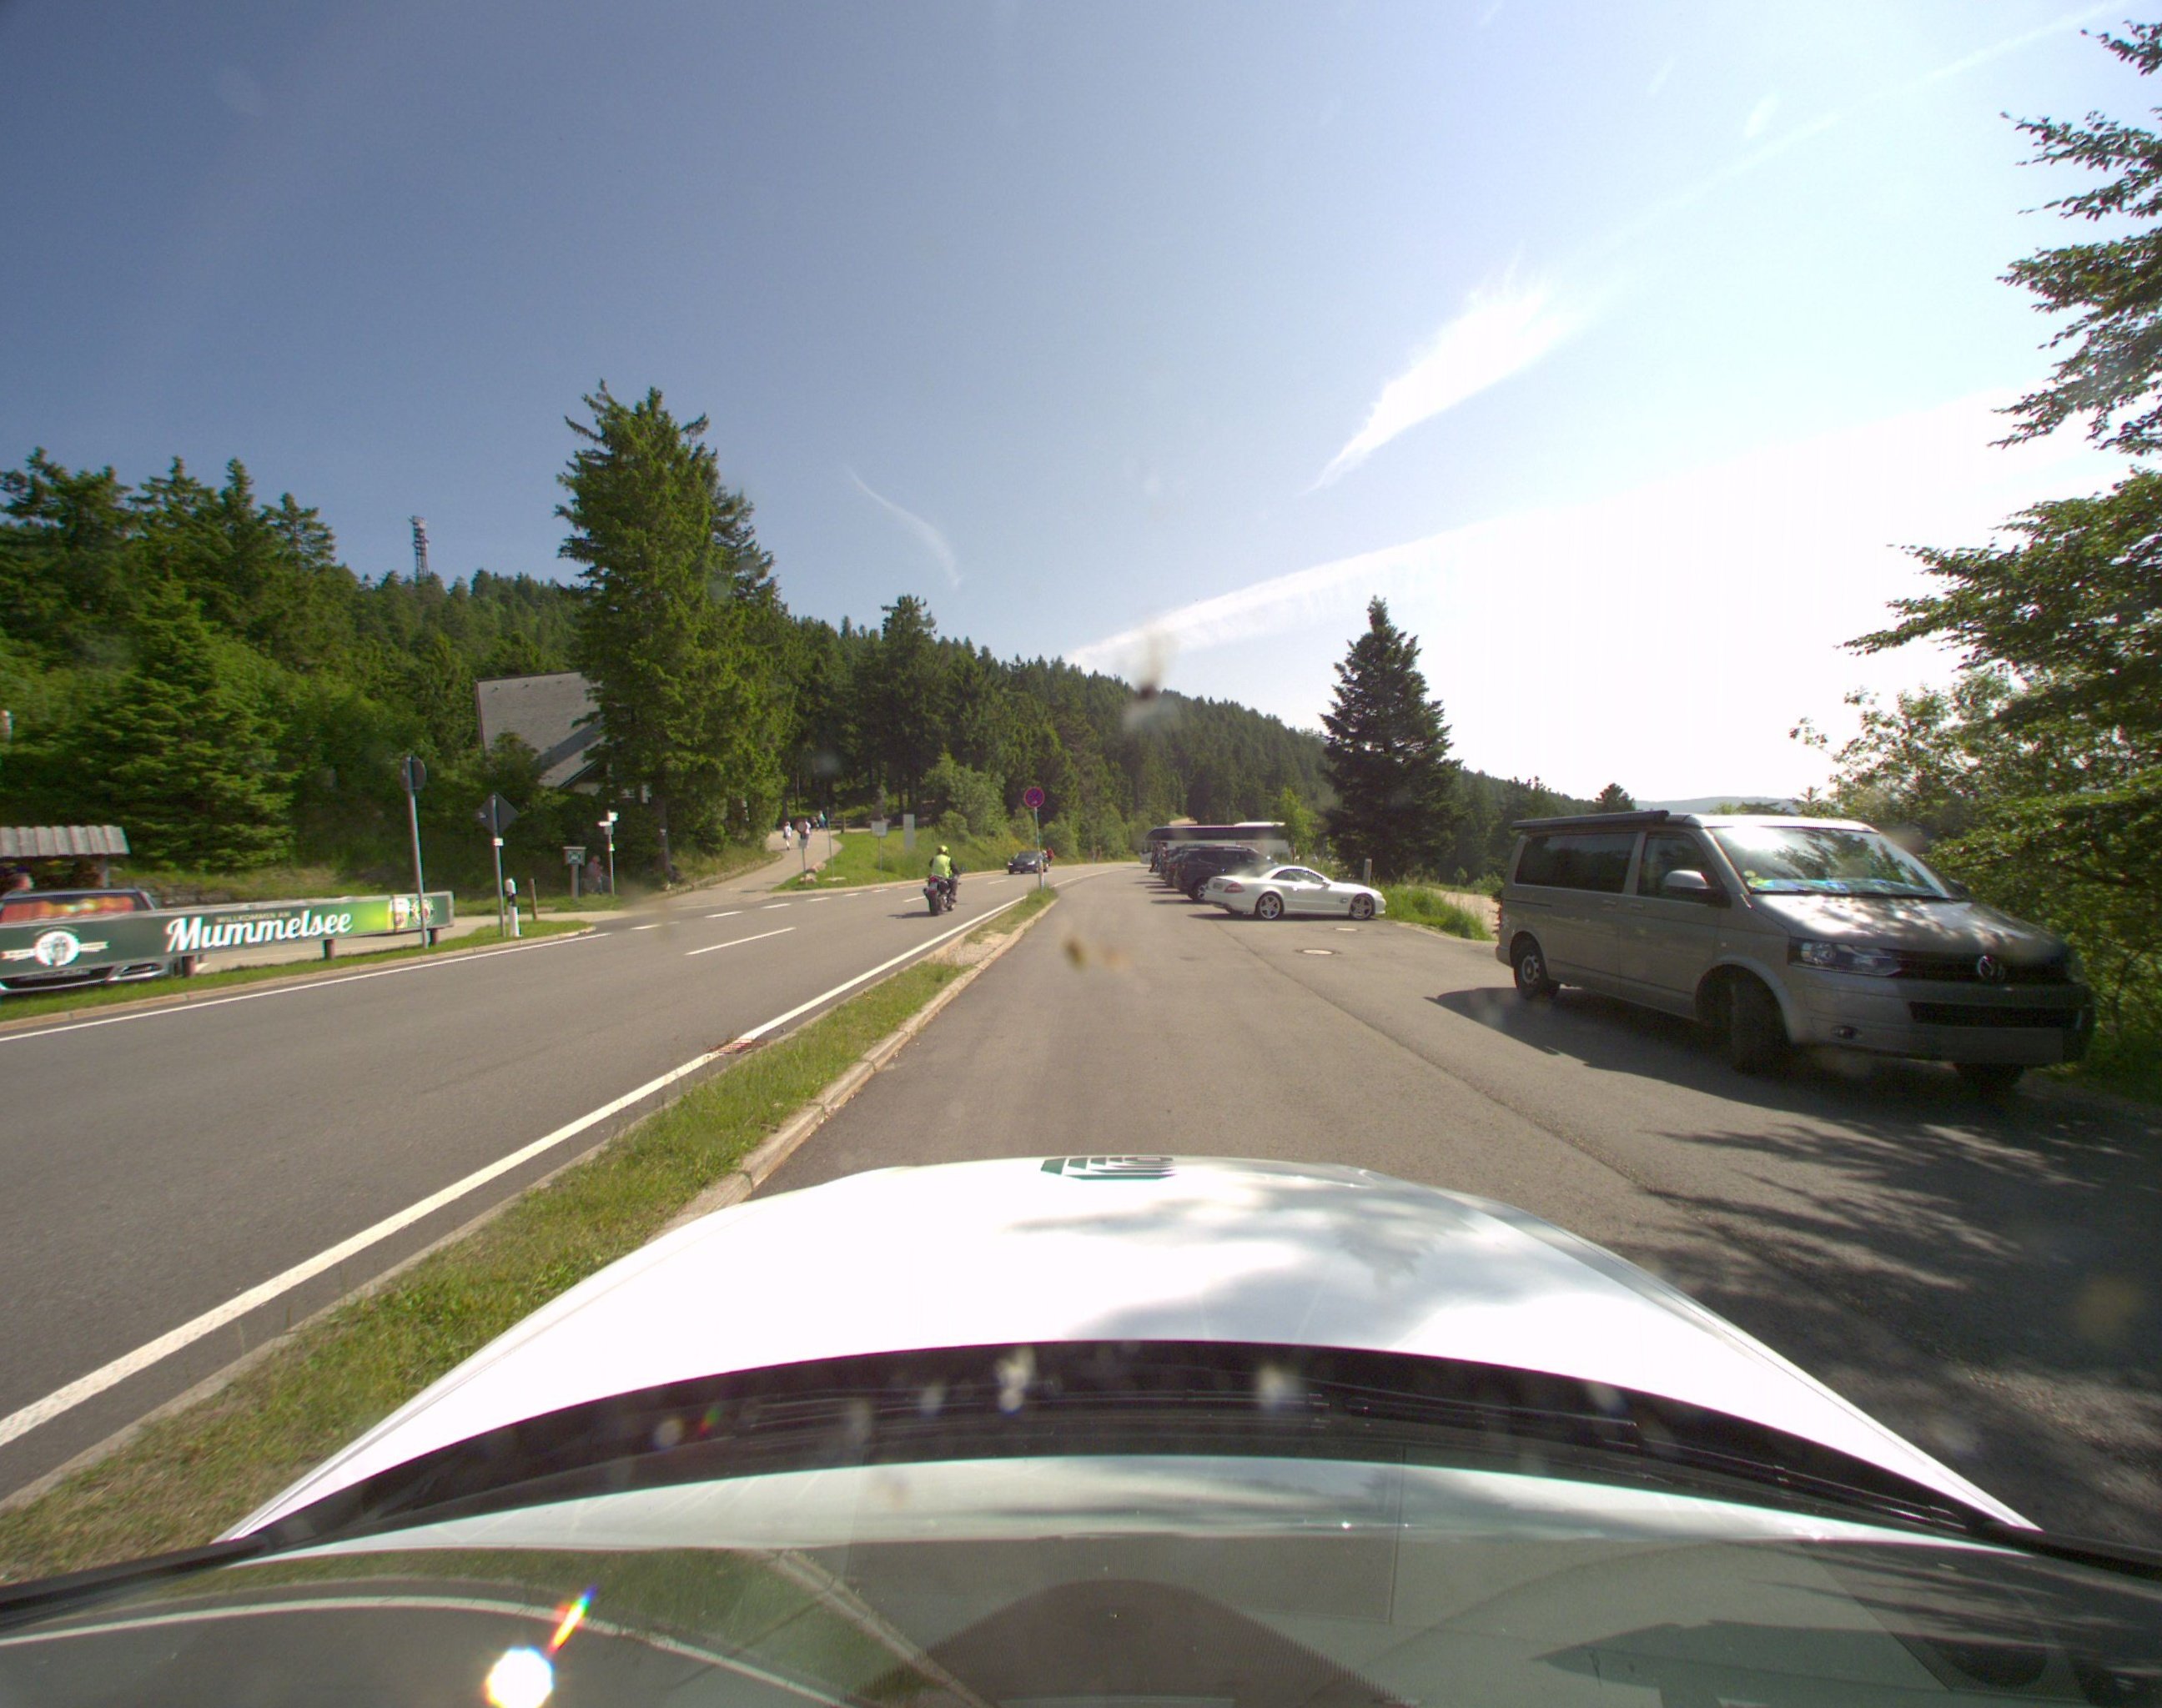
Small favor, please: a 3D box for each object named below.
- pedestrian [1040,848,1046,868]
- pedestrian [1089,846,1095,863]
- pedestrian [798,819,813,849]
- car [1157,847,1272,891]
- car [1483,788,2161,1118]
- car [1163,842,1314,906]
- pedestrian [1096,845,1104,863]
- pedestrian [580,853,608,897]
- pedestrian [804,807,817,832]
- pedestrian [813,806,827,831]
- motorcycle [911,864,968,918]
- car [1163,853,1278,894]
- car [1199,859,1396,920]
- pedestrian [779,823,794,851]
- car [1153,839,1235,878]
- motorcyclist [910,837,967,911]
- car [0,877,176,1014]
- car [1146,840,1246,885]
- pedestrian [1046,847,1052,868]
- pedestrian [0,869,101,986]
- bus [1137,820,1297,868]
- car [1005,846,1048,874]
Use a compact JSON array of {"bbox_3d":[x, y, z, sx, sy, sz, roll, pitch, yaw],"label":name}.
[{"bbox_3d":[-3.311,0.342,71.300,0.413,1.747,0.457,-4,2,0],"label":"pedestrian"},{"bbox_3d":[1.267,0.104,93.547,0.620,1.900,0.655,-4,-1,0],"label":"pedestrian"},{"bbox_3d":[-17.045,-1.246,50.356,0.652,1.799,0.641,-3,-1,-6],"label":"pedestrian"},{"bbox_3d":[4.994,0.552,30.786,3.975,1.452,2.000,1,2,-1],"label":"car"},{"bbox_3d":[5.764,0.580,7.425,1.898,1.972,4.822,2,1,2],"label":"car"},{"bbox_3d":[4.664,0.568,24.433,3.984,1.699,1.995,2,1,-8],"label":"car"},{"bbox_3d":[2.165,-0.038,92.701,0.730,2.013,0.862,-4,-1,0],"label":"pedestrian"},{"bbox_3d":[-17.936,0.760,30.000,0.575,1.532,0.553,-4,2,0],"label":"pedestrian"},{"bbox_3d":[-22.457,-2.827,67.609,0.797,2.013,0.937,-4,2,-8],"label":"pedestrian"},{"bbox_3d":[-21.231,-2.879,66.352,0.815,2.013,0.851,-4,2,-8],"label":"pedestrian"},{"bbox_3d":[-3.323,0.840,19.322,0.818,1.177,2.288,-2,-1,3],"label":"motorcycle"},{"bbox_3d":[4.716,0.648,27.826,3.625,1.303,1.641,0,2,-1],"label":"car"},{"bbox_3d":[5.270,0.865,19.898,4.462,1.298,1.574,2,1,-16],"label":"car"},{"bbox_3d":[-17.832,-1.022,49.324,0.652,1.667,0.641,-3,-1,-6],"label":"pedestrian"},{"bbox_3d":[5.750,0.213,41.774,3.971,1.814,1.941,2,2,2],"label":"car"},{"bbox_3d":[-3.352,0.466,19.314,1.021,1.675,1.294,-2,-1,2],"label":"motorcyclist"},{"bbox_3d":[-13.519,1.131,10.925,3.919,1.441,1.755,-3,2,42],"label":"car"},{"bbox_3d":[4.834,0.329,34.702,3.974,1.719,1.868,1,2,0],"label":"car"},{"bbox_3d":[-2.785,0.319,71.034,0.393,1.747,0.406,-4,2,0],"label":"pedestrian"},{"bbox_3d":[-16.736,1.156,12.981,0.893,1.734,0.960,-4,2,0],"label":"pedestrian"},{"bbox_3d":[11.325,-0.815,68.057,12.760,3.577,2.996,-1,3,16],"label":"bus"},{"bbox_3d":[-3.470,0.383,53.054,1.983,1.662,4.009,-2,1,7],"label":"car"}]
